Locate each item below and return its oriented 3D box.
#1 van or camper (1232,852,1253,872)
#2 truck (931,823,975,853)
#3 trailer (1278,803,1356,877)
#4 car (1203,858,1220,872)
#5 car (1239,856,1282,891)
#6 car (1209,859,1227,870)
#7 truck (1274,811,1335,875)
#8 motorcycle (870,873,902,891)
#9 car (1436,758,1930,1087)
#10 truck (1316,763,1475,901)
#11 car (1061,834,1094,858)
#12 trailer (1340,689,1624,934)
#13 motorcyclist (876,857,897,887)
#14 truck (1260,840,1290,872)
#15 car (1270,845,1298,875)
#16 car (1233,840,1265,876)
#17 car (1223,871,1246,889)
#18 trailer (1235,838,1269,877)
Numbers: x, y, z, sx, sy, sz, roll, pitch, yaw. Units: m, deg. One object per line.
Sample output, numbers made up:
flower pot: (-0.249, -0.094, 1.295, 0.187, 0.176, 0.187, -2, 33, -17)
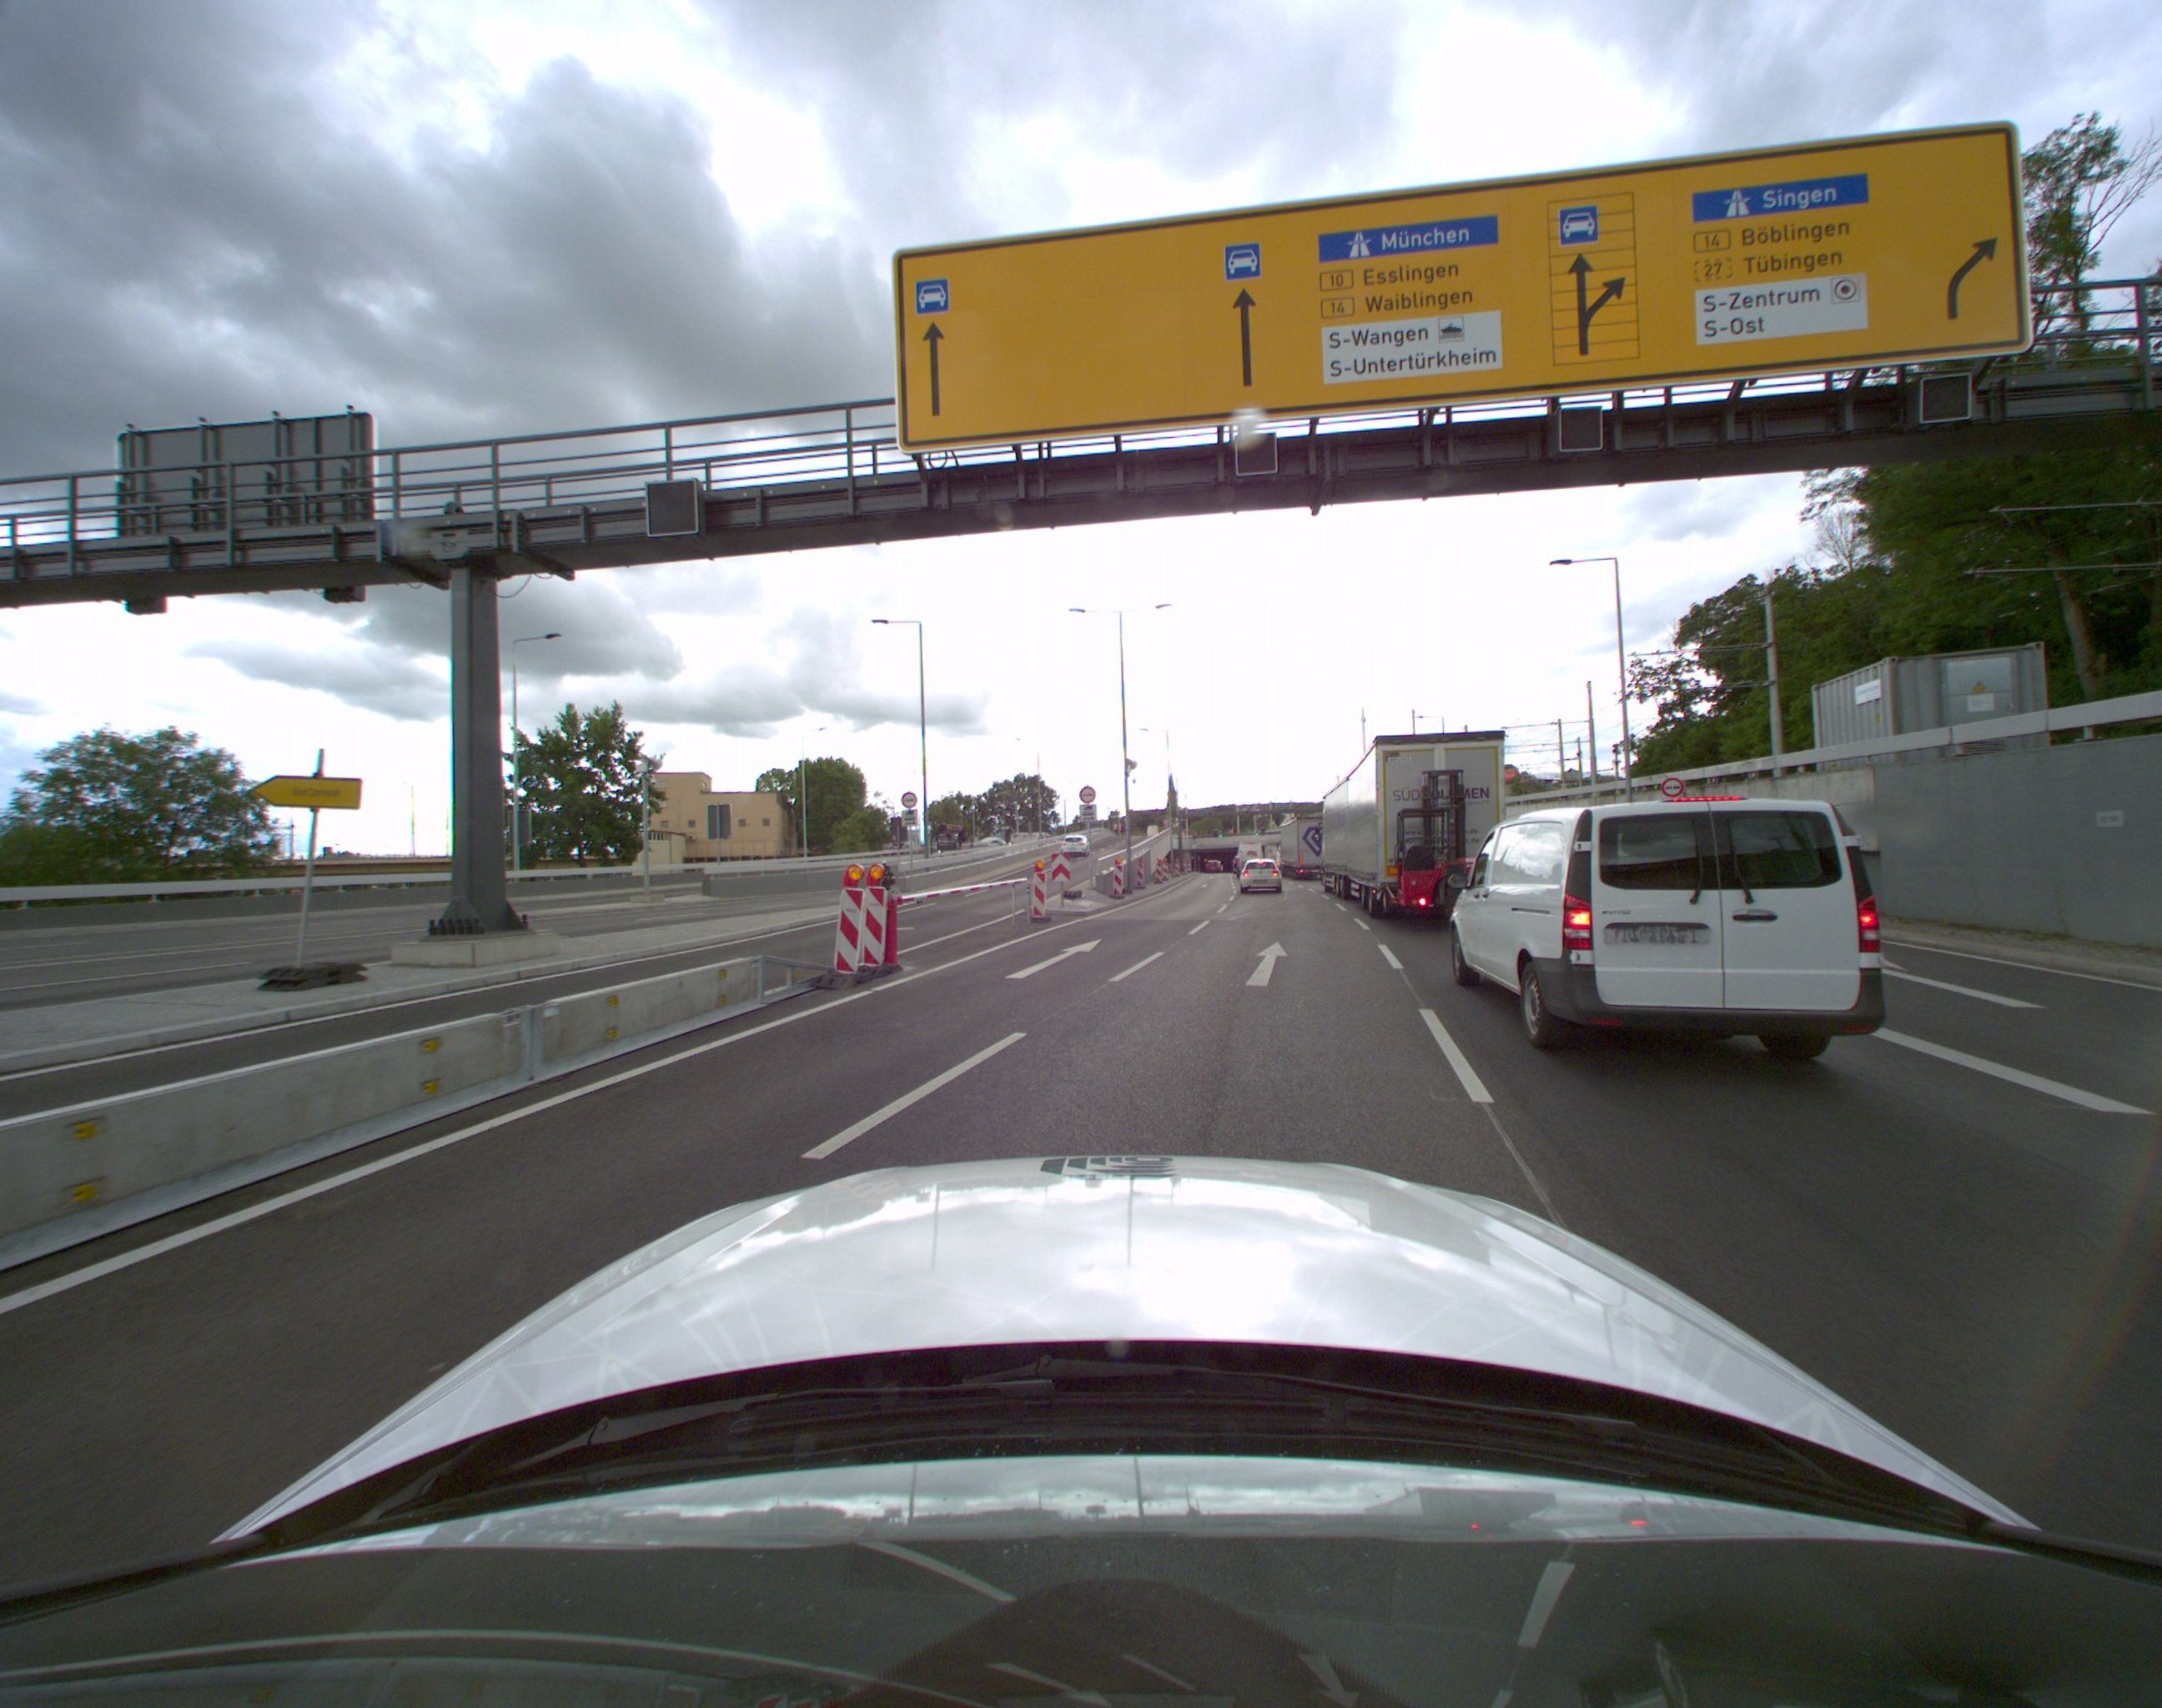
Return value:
van or camper: (16.520, 0.825, 83.569, 1.982, 1.845, 5.521, -1, -3, 9)
truck: (-15.299, -2.062, 98.434, 2.719, 3.389, 10.637, 1, 2, 5)
trailer: (16.188, -0.818, 56.883, 3.782, 4.631, 12.146, 0, -1, 10)
car: (15.814, 1.322, 98.607, 1.653, 1.488, 3.570, -2, -2, 3)
car: (7.788, 0.820, 35.519, 1.705, 1.398, 4.360, 0, -1, 11)
car: (17.827, 1.319, 106.144, 1.985, 1.387, 4.003, 0, 0, 3)
truck: (17.354, -0.770, 63.782, 3.782, 4.631, 7.462, 0, -1, 9)
motorcycle: (-10.477, 1.498, 43.765, 0.660, 0.917, 2.403, -1, -1, 13)
car: (4.853, 0.445, 7.707, 1.979, 1.990, 5.220, -1, -1, 15)
truck: (11.124, -0.606, 30.261, 3.700, 4.142, 11.018, -1, -1, 12)
car: (-0.202, -0.521, 55.756, 1.734, 1.432, 3.783, 2, -1, 7)
trailer: (8.626, -0.669, 19.551, 3.698, 4.142, 11.022, -1, -1, 13)
motorcyclist: (-10.478, 0.983, 43.791, 0.660, 1.606, 1.107, -1, -1, 13)
truck: (20.736, 0.247, 87.155, 2.633, 3.185, 7.447, -2, -2, 10)
car: (19.332, 0.555, 77.834, 2.062, 2.773, 7.346, 0, 0, 10)
car: (13.045, 0.357, 63.412, 2.046, 2.628, 5.956, 2, -1, 9)
car: (14.435, 2.442, 76.826, 1.675, 1.545, 3.695, 1, 0, 3)
trailer: (12.461, 0.288, 59.716, 2.091, 2.639, 4.821, 2, -1, 8)
